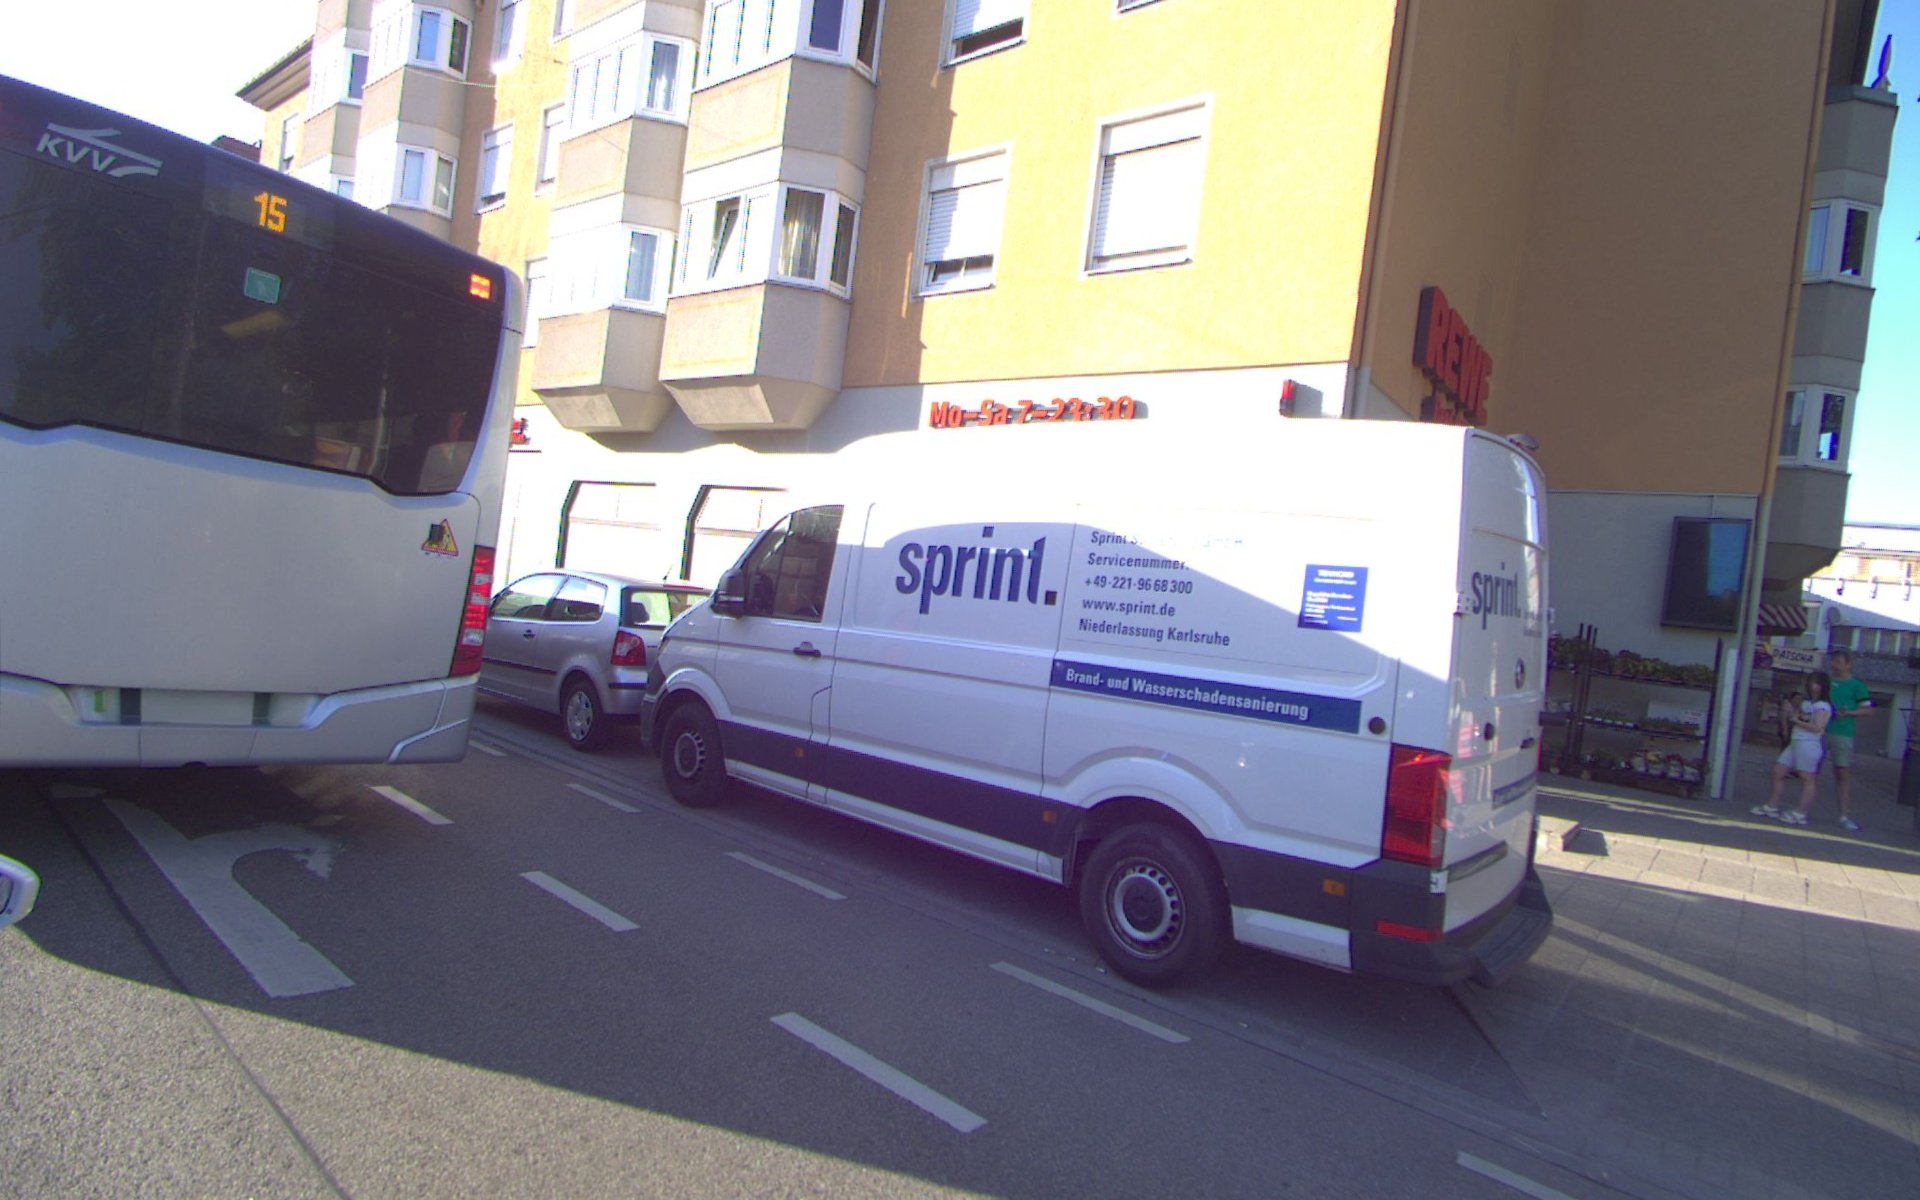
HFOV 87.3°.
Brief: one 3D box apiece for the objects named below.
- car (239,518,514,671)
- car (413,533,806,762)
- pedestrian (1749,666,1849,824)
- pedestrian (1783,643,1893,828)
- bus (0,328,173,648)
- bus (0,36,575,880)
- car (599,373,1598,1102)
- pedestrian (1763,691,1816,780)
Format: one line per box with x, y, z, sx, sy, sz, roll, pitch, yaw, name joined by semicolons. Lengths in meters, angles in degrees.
-7.939;-0.117;13.533;4.169;1.556;1.836;7;0;41;car
-3.474;0.364;9.673;3.731;1.608;1.836;7;0;41;car
9.001;1.531;10.813;0.413;1.587;0.639;7;1;10;pedestrian
9.581;1.457;10.995;0.465;1.905;0.575;6;1;-1;pedestrian
-13.096;-1.560;12.919;9.001;3.091;2.737;7;-1;41;bus
-6.397;-0.781;7.126;8.727;3.091;2.737;7;-1;41;bus
0.275;0.288;6.151;5.702;2.586;2.012;7;3;40;car
15.621;2.537;18.957;0.588;1.560;0.742;7;1;37;pedestrian
